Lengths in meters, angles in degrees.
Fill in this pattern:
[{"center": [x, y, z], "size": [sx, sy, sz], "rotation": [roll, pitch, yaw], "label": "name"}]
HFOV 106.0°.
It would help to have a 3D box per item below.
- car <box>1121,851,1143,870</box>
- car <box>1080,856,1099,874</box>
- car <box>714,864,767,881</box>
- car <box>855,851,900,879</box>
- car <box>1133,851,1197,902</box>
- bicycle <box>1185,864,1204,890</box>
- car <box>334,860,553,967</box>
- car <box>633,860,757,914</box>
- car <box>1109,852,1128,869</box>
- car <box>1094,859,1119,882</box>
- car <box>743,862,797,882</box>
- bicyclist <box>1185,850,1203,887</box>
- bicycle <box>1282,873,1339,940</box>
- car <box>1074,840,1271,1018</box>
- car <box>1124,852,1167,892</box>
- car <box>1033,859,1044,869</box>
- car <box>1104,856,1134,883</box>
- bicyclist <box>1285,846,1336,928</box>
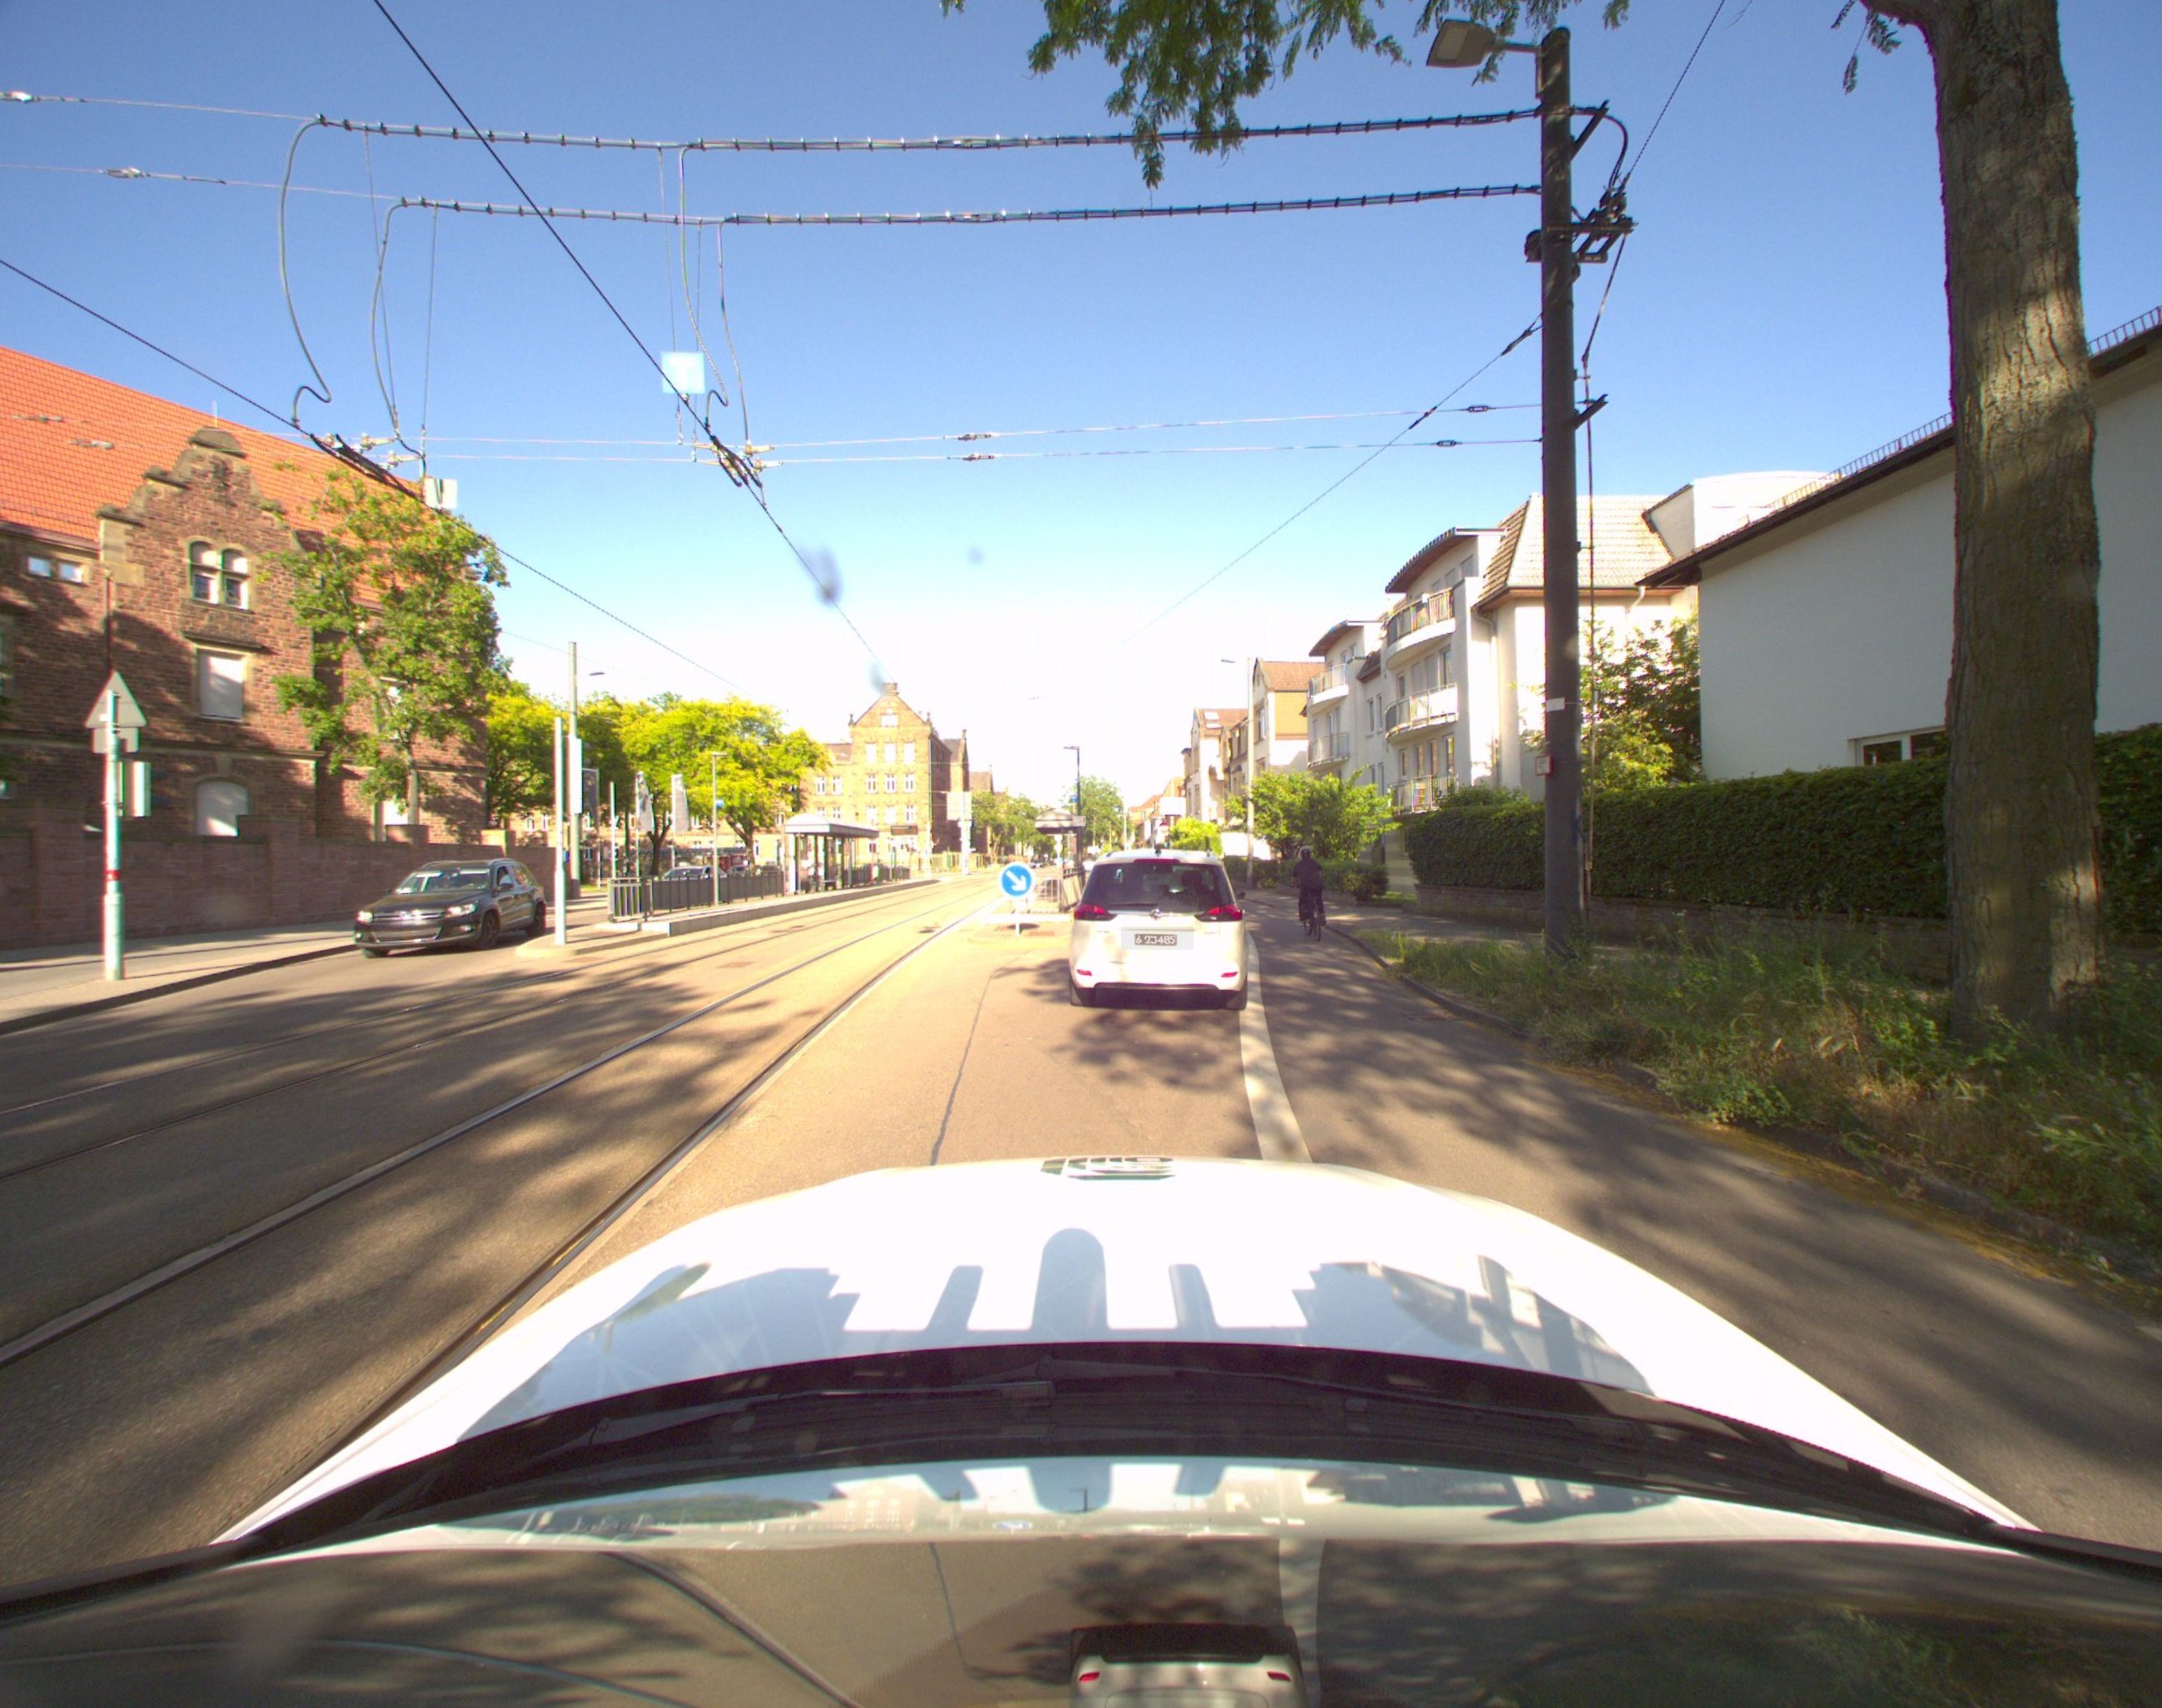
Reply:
[{"center": [4.478, 0.570, 71.900], "size": [1.769, 1.632, 3.881], "rotation": [0, -1, 1], "label": "car"}, {"center": [0.848, 1.090, 79.475], "size": [1.769, 1.692, 3.881], "rotation": [0, -1, 1], "label": "car"}, {"center": [-31.019, 1.649, 74.207], "size": [4.050, 1.522, 1.877], "rotation": [0, -1, 1], "label": "car"}, {"center": [-13.936, 0.779, 55.877], "size": [1.849, 1.403, 3.982], "rotation": [-8, -5, 1], "label": "car"}, {"center": [2.804, 0.745, 27.924], "size": [1.771, 1.632, 3.879], "rotation": [0, -1, -1], "label": "car"}, {"center": [5.141, 1.039, 36.987], "size": [0.683, 1.157, 1.620], "rotation": [0, -1, 1], "label": "bicycle"}, {"center": [-11.618, 0.971, 15.215], "size": [1.800, 1.637, 4.095], "rotation": [-2, 0, -17], "label": "car"}, {"center": [-13.237, 1.072, 28.288], "size": [1.875, 1.414, 4.628], "rotation": [-1, 3, 2], "label": "car"}, {"center": [3.666, 0.677, 80.337], "size": [1.769, 1.632, 3.881], "rotation": [0, -1, 1], "label": "car"}, {"center": [1.921, 1.231, 61.337], "size": [1.769, 1.632, 3.882], "rotation": [-1, -1, 2], "label": "car"}, {"center": [-26.324, 1.486, 68.977], "size": [3.845, 1.660, 1.751], "rotation": [0, -1, 1], "label": "car"}, {"center": [5.134, 0.656, 37.016], "size": [0.683, 1.634, 1.016], "rotation": [0, -1, 1], "label": "bicyclist"}, {"center": [4.344, 0.965, 15.533], "size": [0.824, 1.154, 2.100], "rotation": [-1, -1, 10], "label": "bicycle"}, {"center": [0.855, 0.721, 9.569], "size": [1.829, 1.642, 3.917], "rotation": [0, -1, 0], "label": "car"}, {"center": [2.807, 0.780, 36.244], "size": [1.769, 1.632, 3.883], "rotation": [-1, -1, 3], "label": "car"}, {"center": [-7.689, 1.774, 147.511], "size": [1.901, 1.677, 4.356], "rotation": [-1, 0, -1], "label": "car"}, {"center": [2.291, 0.940, 50.292], "size": [1.769, 1.632, 3.881], "rotation": [0, -1, 1], "label": "car"}, {"center": [4.335, 0.610, 15.453], "size": [0.816, 1.501, 0.937], "rotation": [-1, -1, 10], "label": "bicyclist"}]
